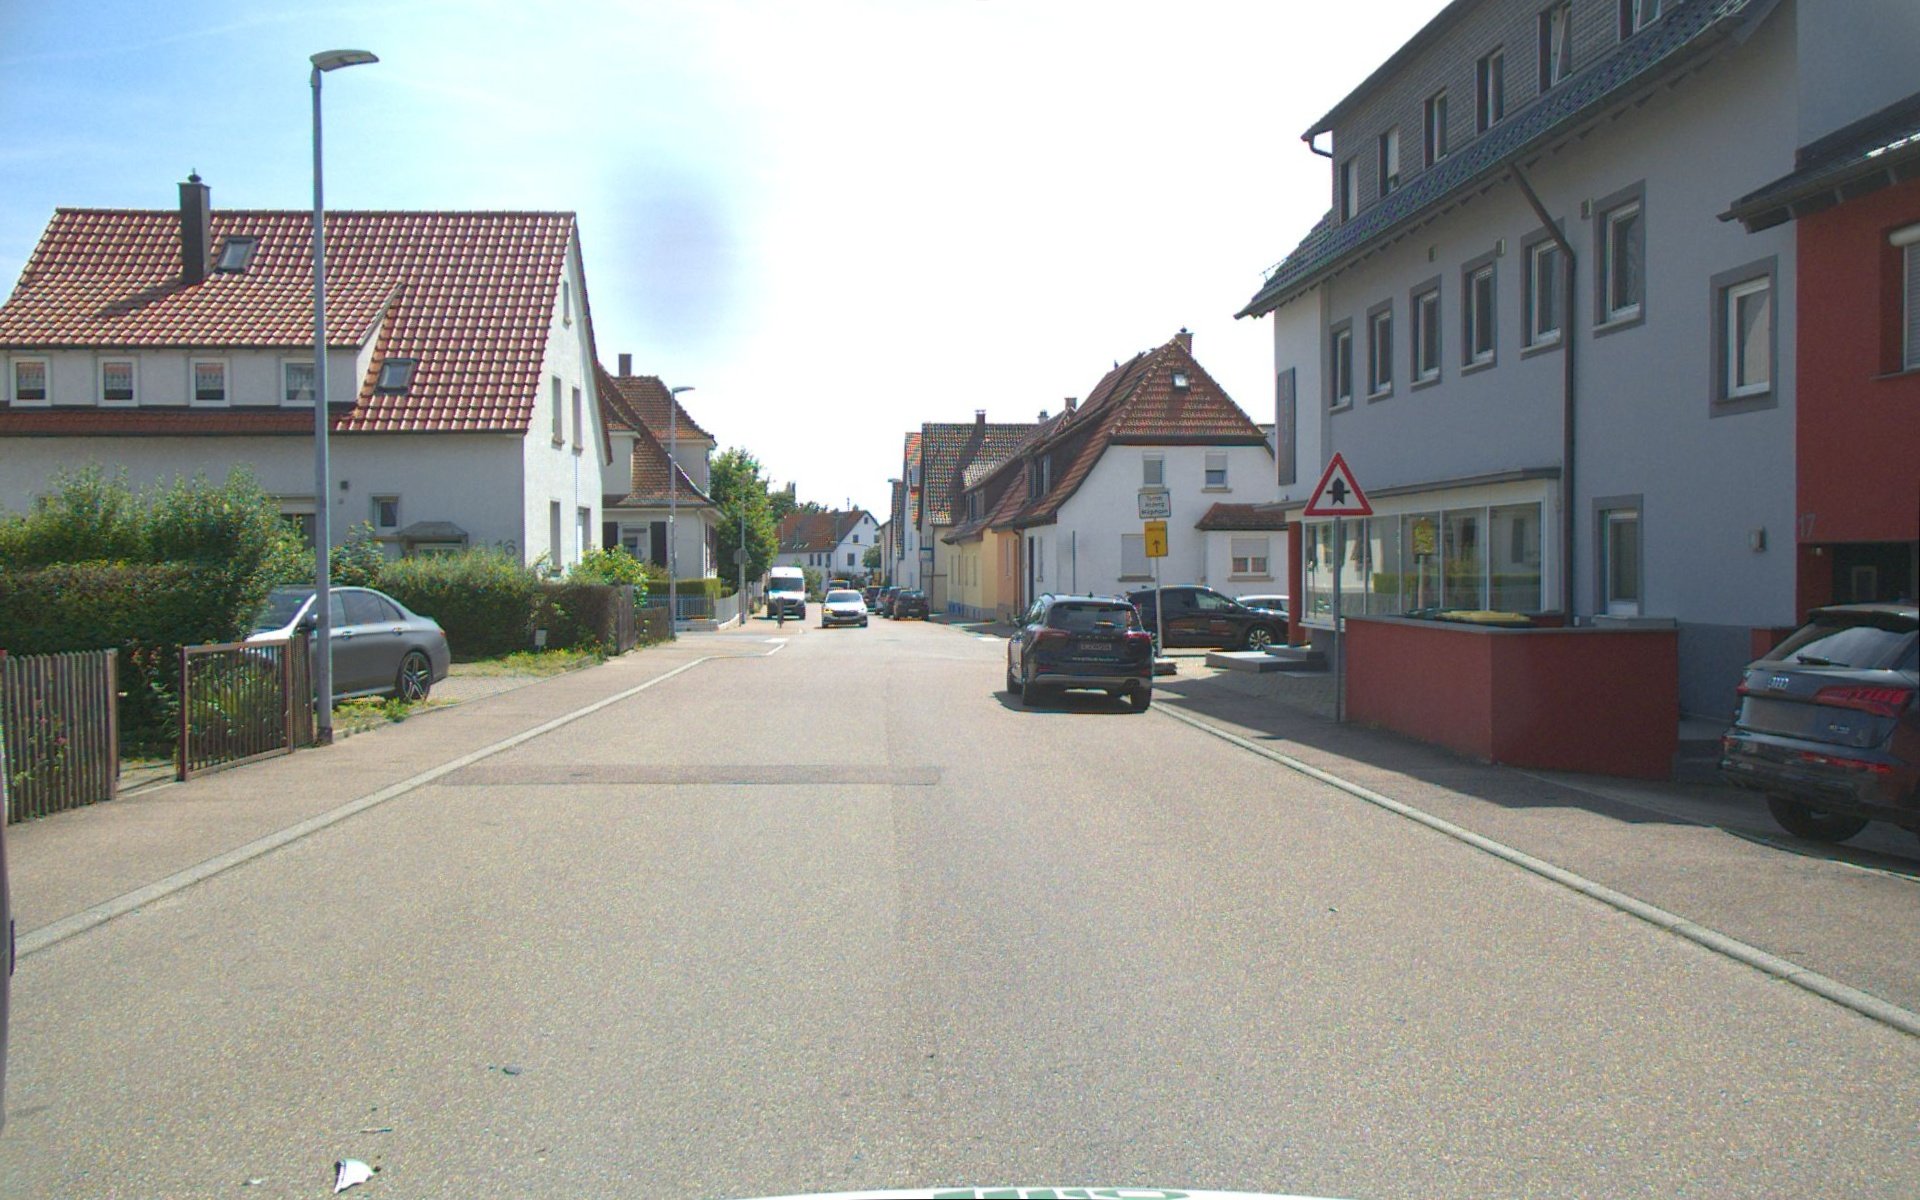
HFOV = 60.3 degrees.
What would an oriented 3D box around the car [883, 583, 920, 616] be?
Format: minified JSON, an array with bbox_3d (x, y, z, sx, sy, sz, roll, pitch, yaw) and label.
[{"bbox_3d":[-3.088,-0.042,86.246,1.695,1.627,4.248,0,0,-5],"label":"car"}]

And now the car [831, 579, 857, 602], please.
[{"bbox_3d":[-11.067,-0.937,158.176,2.085,2.196,4.736,-1,0,0],"label":"car"}]

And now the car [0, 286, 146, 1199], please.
[{"bbox_3d":[-2.502,0.474,0.987,1.929,1.986,4.693,0,0,-3],"label":"car"}]

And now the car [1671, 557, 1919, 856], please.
[{"bbox_3d":[7.193,0.799,10.711,4.283,1.697,1.875,6,0,-5],"label":"car"}]

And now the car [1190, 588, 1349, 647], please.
[{"bbox_3d":[8.191,0.449,43.998,3.905,1.530,1.694,0,0,-1],"label":"car"}]

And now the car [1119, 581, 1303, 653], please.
[{"bbox_3d":[6.002,0.394,39.949,4.204,1.682,1.848,0,0,2],"label":"car"}]

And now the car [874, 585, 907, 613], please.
[{"bbox_3d":[-4.146,-0.078,98.325,1.642,1.586,3.035,0,0,-8],"label":"car"}]

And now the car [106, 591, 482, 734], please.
[{"bbox_3d":[-7.576,0.629,19.392,1.788,1.457,4.567,0,0,13],"label":"car"}]

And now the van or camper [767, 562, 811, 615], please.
[{"bbox_3d":[-8.847,-0.617,85.551,2.142,2.616,6.798,1,0,-6],"label":"van or camper"}]

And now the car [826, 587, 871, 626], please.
[{"bbox_3d":[-4.437,0.218,65.324,1.719,1.463,4.584,0,1,-5],"label":"car"}]

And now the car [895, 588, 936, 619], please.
[{"bbox_3d":[-2.199,0.149,80.737,1.580,1.456,3.747,0,0,-8],"label":"car"}]

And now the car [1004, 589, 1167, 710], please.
[{"bbox_3d":[1.704,0.636,23.817,1.727,1.553,4.403,1,0,-4],"label":"car"}]

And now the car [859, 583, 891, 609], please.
[{"bbox_3d":[-5.841,-0.301,113.078,1.840,1.730,4.176,0,0,-8],"label":"car"}]
